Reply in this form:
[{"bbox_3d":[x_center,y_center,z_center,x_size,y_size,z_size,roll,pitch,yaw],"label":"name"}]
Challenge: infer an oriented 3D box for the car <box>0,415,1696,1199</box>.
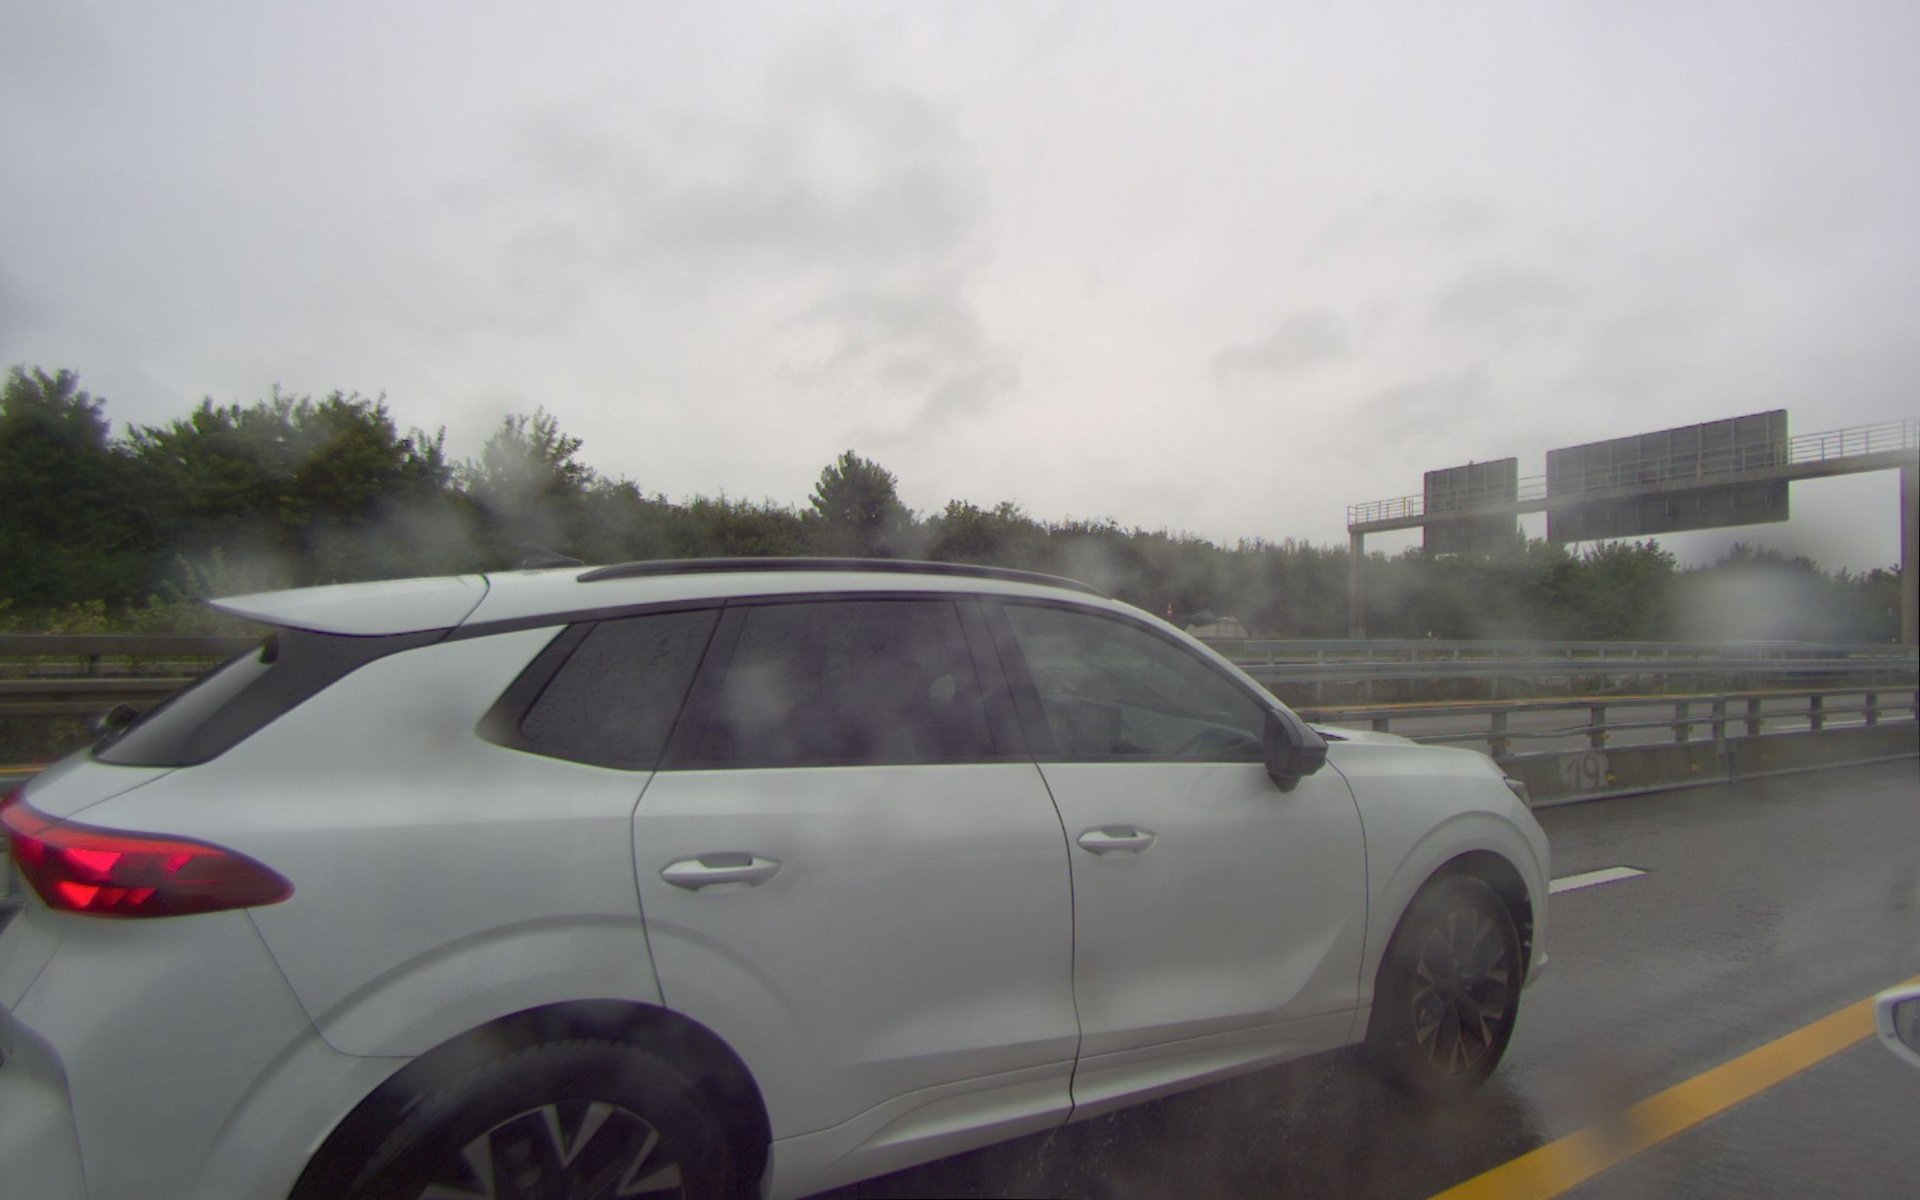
[{"bbox_3d":[0.011,0.632,3.174,4.740,1.639,1.984,2,0,-30],"label":"car"}]
